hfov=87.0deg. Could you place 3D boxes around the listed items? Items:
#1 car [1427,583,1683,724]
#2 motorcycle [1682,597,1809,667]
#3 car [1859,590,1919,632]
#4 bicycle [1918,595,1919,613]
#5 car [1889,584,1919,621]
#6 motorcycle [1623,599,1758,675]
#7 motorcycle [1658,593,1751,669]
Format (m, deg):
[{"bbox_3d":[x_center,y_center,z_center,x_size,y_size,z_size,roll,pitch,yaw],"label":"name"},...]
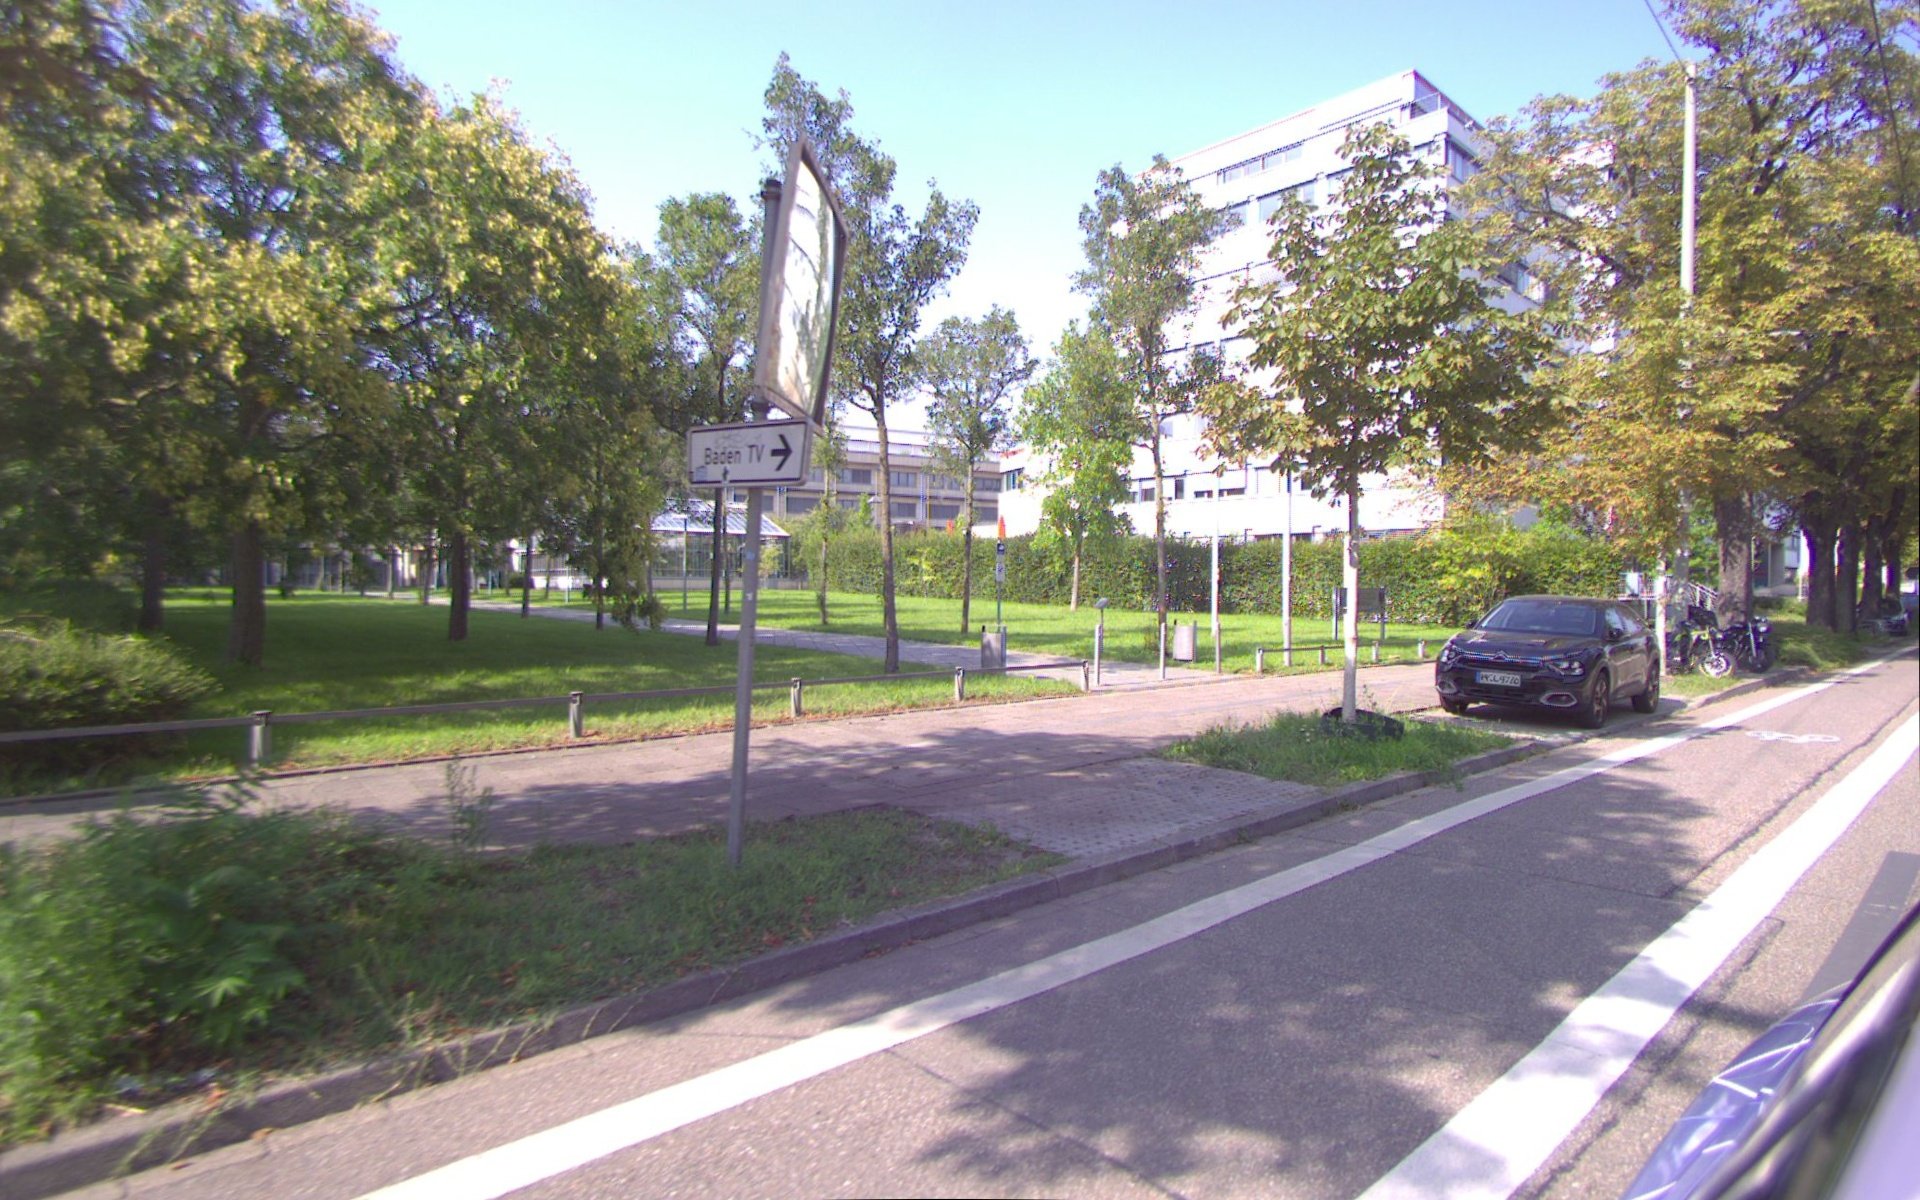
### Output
[{"bbox_3d":[7.925,0.569,13.290,4.363,1.504,1.743,0,2,-44],"label":"car"},{"bbox_3d":[15.774,0.619,20.409,0.828,1.258,2.069,1,2,-4],"label":"motorcycle"},{"bbox_3d":[36.684,0.383,39.907,3.507,1.459,1.564,-1,4,-45],"label":"car"},{"bbox_3d":[52.998,0.228,54.926,0.376,1.027,1.457,0,1,-45],"label":"bicycle"},{"bbox_3d":[45.509,0.100,47.965,4.114,1.673,1.864,-1,3,-44],"label":"car"},{"bbox_3d":[13.016,0.617,18.113,0.632,1.240,1.993,0,1,-17],"label":"motorcycle"},{"bbox_3d":[14.559,0.570,19.853,0.834,1.343,2.055,1,2,19],"label":"motorcycle"}]
